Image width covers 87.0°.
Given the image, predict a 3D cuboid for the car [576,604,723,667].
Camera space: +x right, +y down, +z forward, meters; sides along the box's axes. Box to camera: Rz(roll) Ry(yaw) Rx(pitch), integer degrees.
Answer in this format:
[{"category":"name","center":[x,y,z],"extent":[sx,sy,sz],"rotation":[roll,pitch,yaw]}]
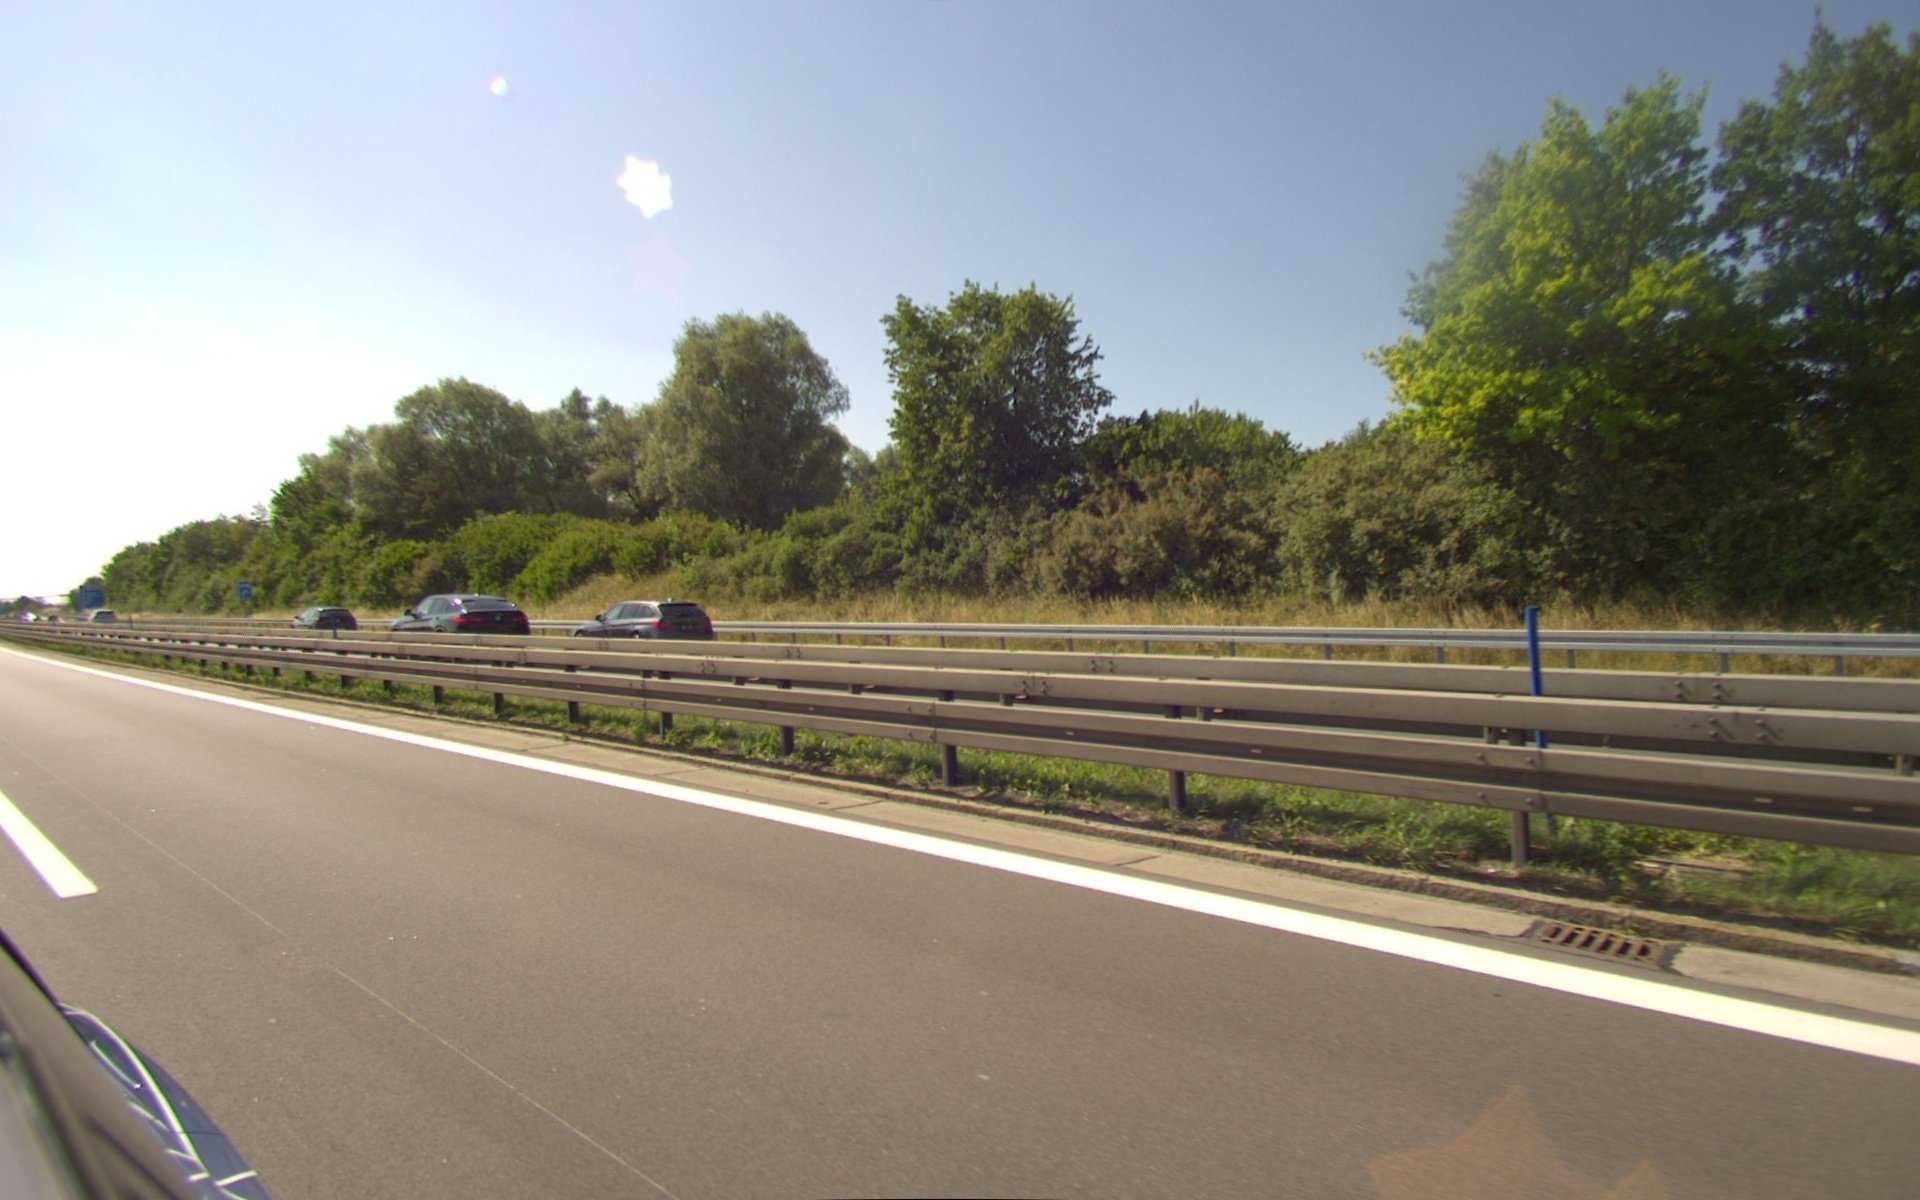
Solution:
[{"category":"car","center":[-7.762,0.844,25.137],"extent":[3.998,1.433,1.645],"rotation":[-1,0,41]}]

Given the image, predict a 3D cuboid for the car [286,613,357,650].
[{"category":"car","center":[-27.666,1.349,43.814],"extent":[4.152,1.473,1.561],"rotation":[-1,0,43]}]

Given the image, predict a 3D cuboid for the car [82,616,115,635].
[{"category":"car","center":[-77.280,2.260,90.722],"extent":[4.580,1.576,1.732],"rotation":[-1,1,43]}]

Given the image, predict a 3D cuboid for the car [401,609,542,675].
[{"category":"car","center":[-11.850,0.967,24.457],"extent":[3.998,1.433,1.645],"rotation":[-1,0,41]}]
